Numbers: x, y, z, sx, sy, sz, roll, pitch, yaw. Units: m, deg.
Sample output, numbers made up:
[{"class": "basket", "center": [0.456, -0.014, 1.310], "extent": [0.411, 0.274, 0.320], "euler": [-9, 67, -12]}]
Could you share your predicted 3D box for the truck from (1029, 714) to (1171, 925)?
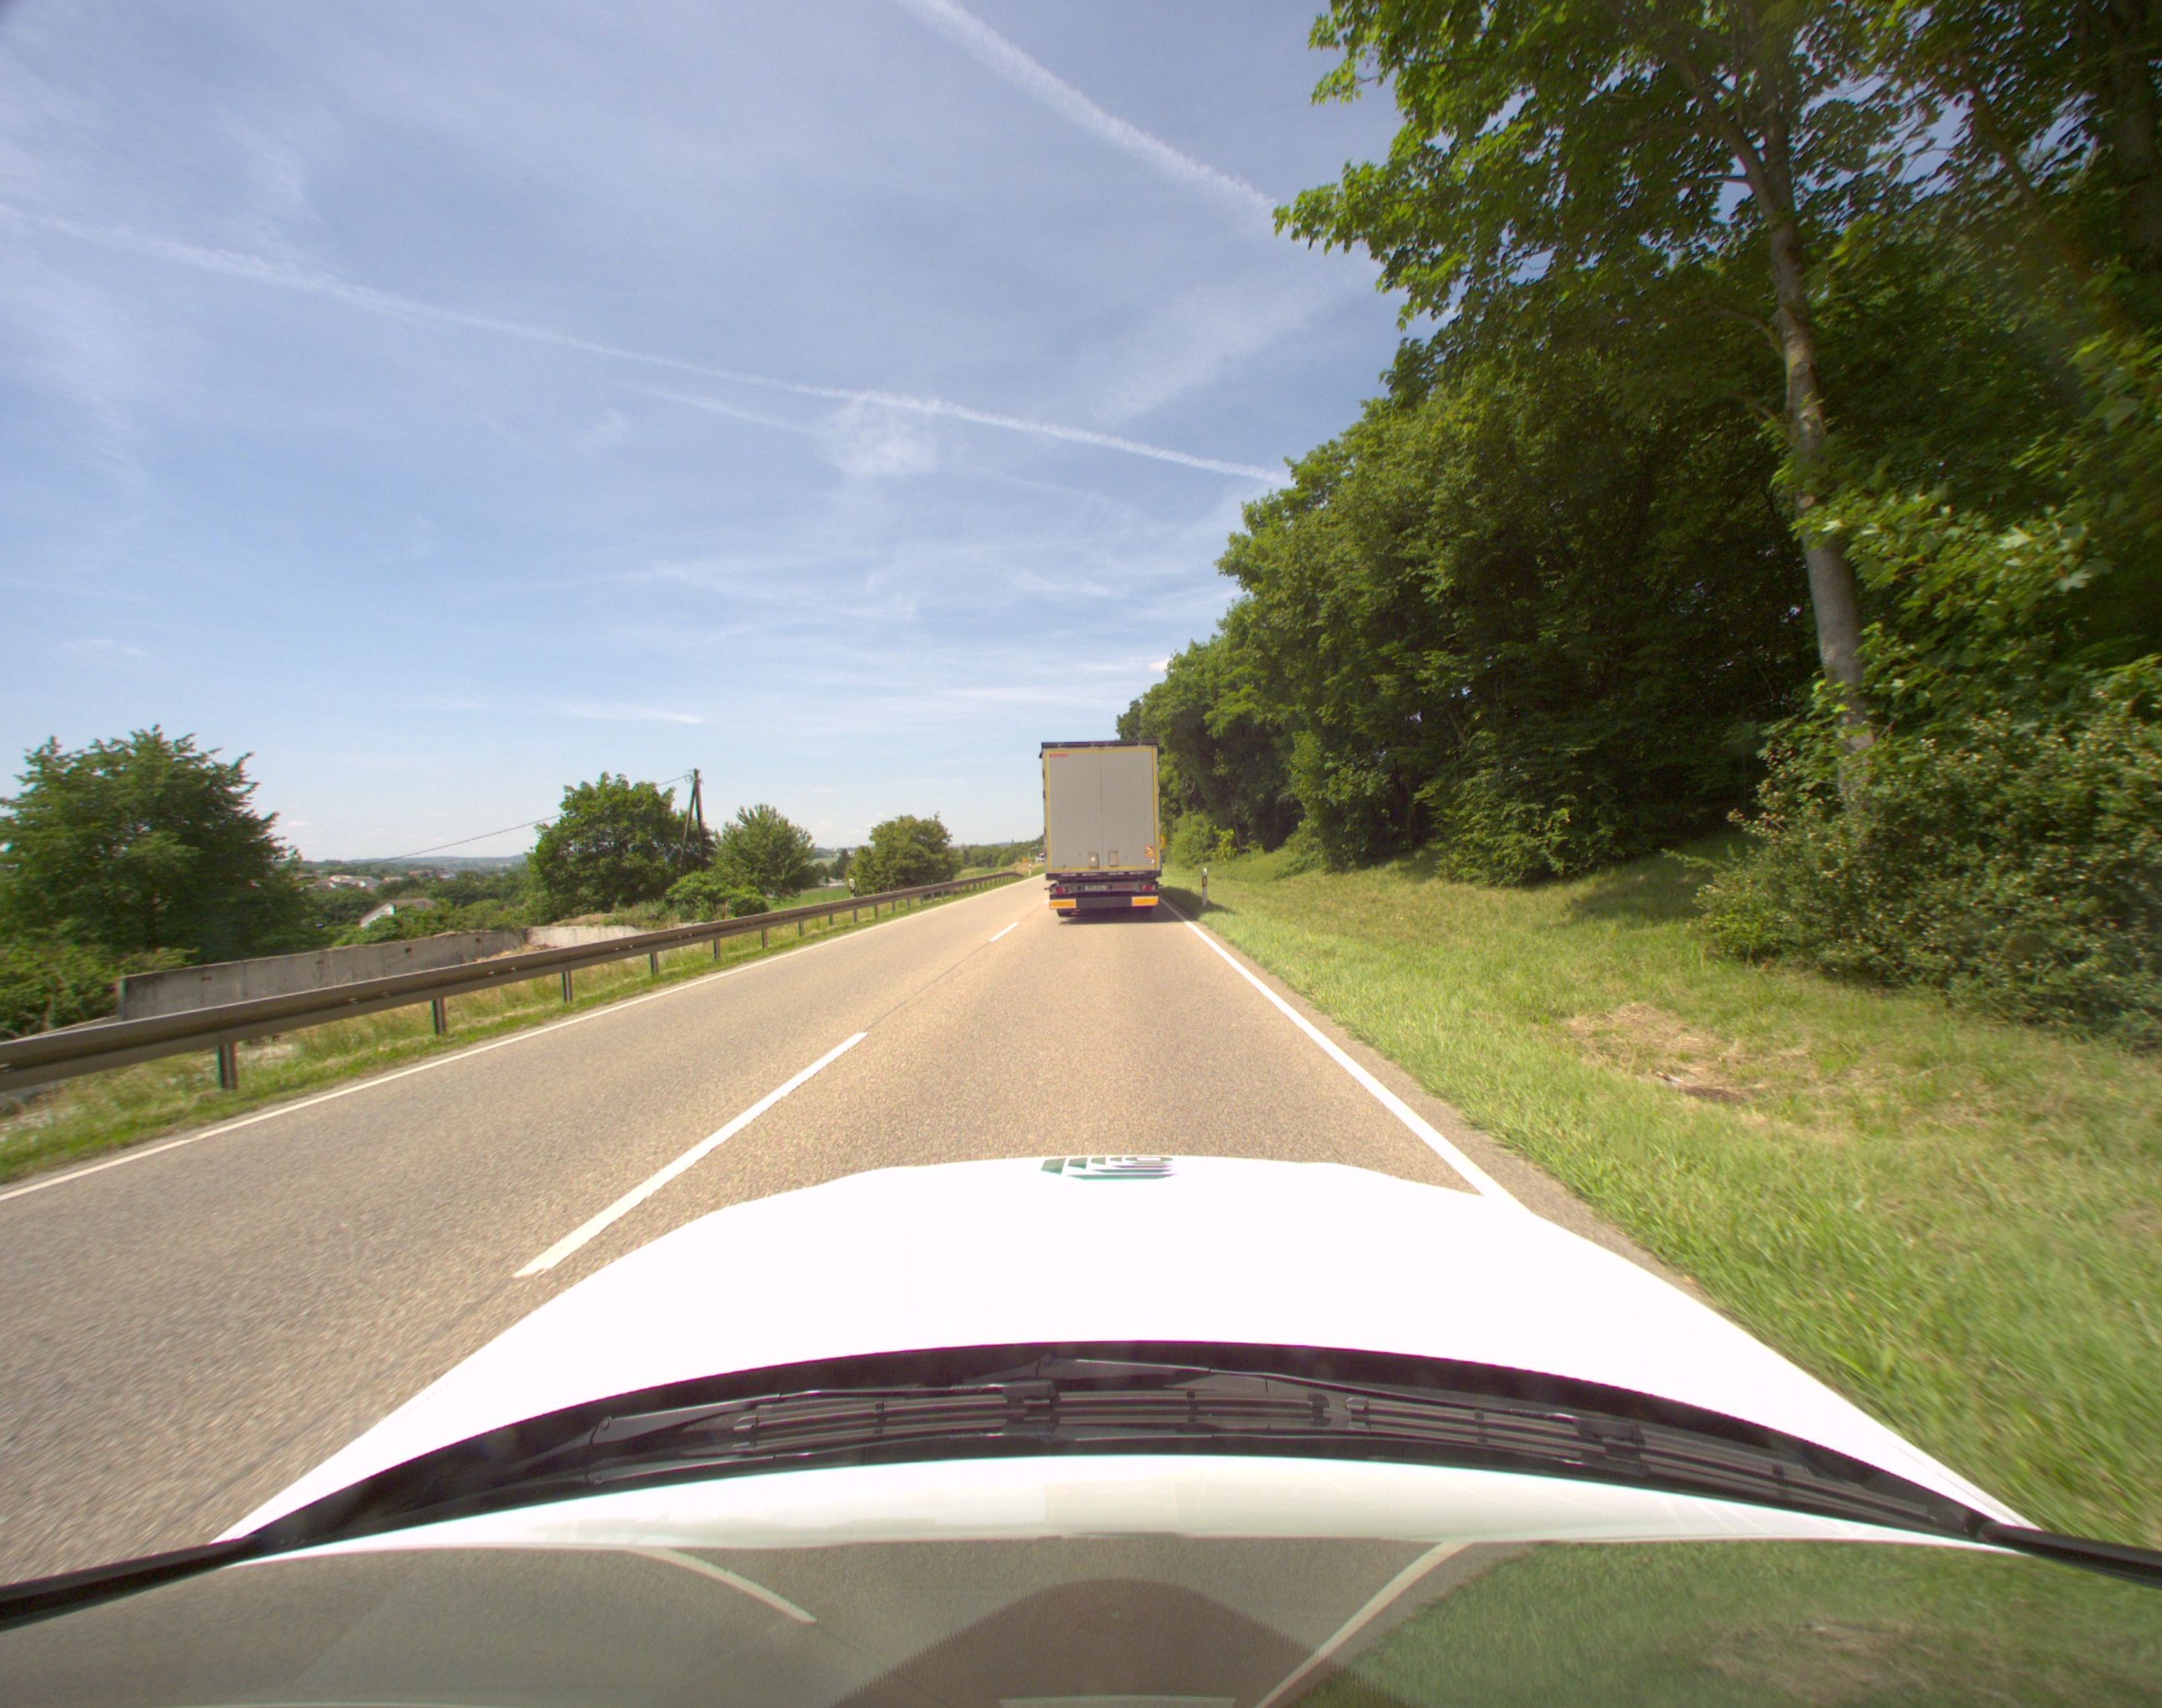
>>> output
[{"class": "truck", "center": [0.536, -0.725, 21.679], "extent": [2.896, 4.410, 8.863], "euler": [-2, 0, 2]}]

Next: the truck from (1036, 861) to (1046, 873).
[{"class": "truck", "center": [-12.317, 4.002, 252.428], "extent": [2.749, 3.576, 11.054], "euler": [-5, -1, -2]}]
